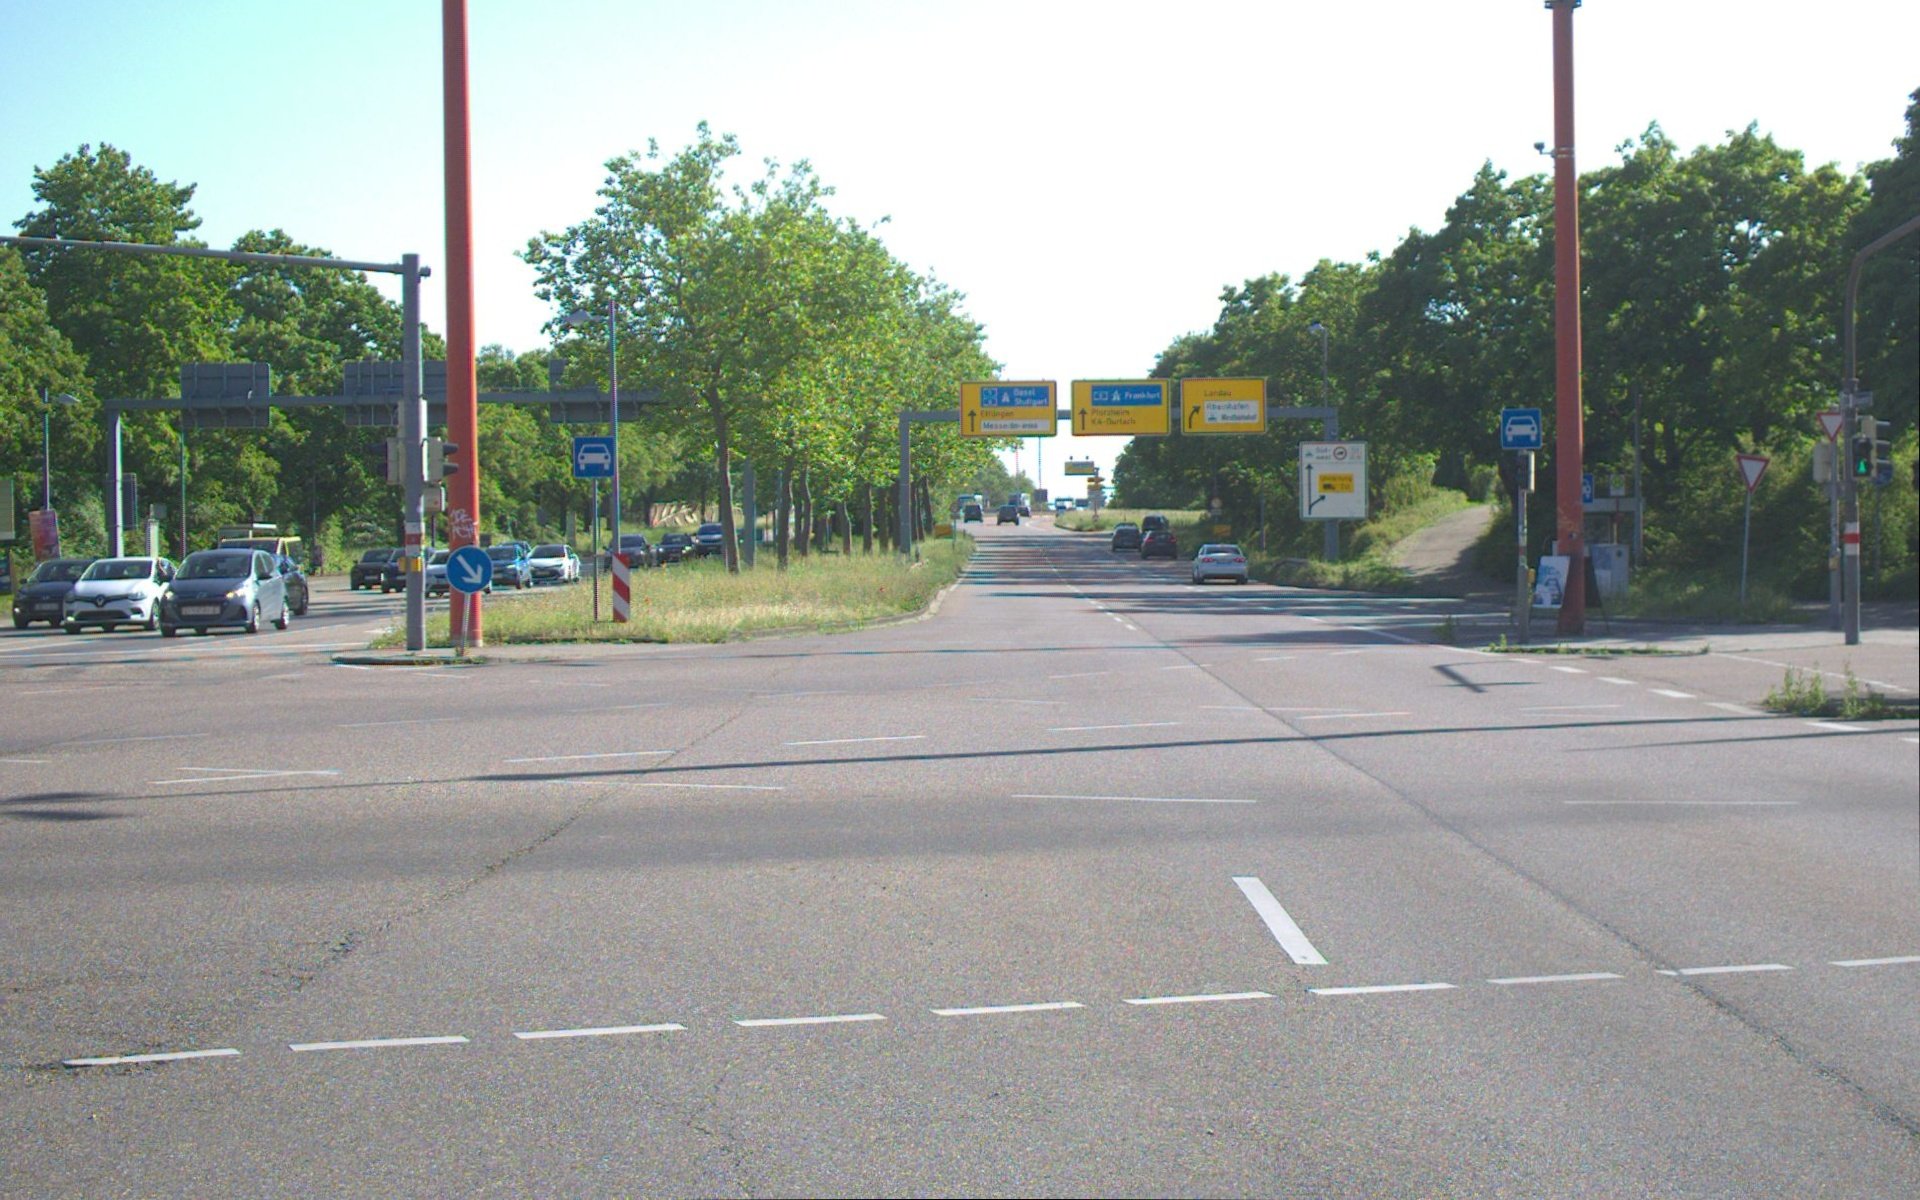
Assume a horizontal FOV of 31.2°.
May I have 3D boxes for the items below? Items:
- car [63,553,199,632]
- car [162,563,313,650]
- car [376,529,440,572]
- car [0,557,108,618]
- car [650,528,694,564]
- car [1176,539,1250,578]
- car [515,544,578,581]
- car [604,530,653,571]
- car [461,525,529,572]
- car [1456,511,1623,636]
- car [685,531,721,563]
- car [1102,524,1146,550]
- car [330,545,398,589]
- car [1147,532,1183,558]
[{"bbox_3d":[-16.048,-0.173,66.724,1.605,1.454,3.950,0,1,1],"label":"car"},{"bbox_3d":[-12.764,0.094,60.929,1.701,1.416,4.000,3,1,1],"label":"car"},{"bbox_3d":[-19.276,-1.724,120.172,1.628,1.445,3.434,1,1,1],"label":"car"},{"bbox_3d":[-19.589,-0.282,74.349,1.453,1.269,3.613,1,1,-1],"label":"car"},{"bbox_3d":[-14.080,-2.646,168.198,1.657,1.741,4.000,1,1,2],"label":"car"},{"bbox_3d":[8.917,-1.479,121.478,2.054,1.366,4.392,0,1,-3],"label":"car"},{"bbox_3d":[-15.388,-1.405,128.025,2.003,1.303,4.001,0,1,-2],"label":"car"},{"bbox_3d":[-14.536,-2.177,150.879,1.625,1.733,4.000,0,1,1],"label":"car"},{"bbox_3d":[-15.745,-1.753,116.494,1.704,1.553,3.803,1,1,2],"label":"car"},{"bbox_3d":[9.128,-0.440,53.911,1.995,1.881,3.997,0,1,18],"label":"car"},{"bbox_3d":[-14.142,-2.915,189.312,1.608,1.724,3.789,1,1,1],"label":"car"},{"bbox_3d":[9.657,-3.704,202.280,1.993,1.491,4.001,-1,1,-6],"label":"car"},{"bbox_3d":[-23.038,-1.276,133.022,1.993,1.633,4.000,1,1,-1],"label":"car"},{"bbox_3d":[10.648,-2.866,178.487,1.738,1.337,3.081,0,1,1],"label":"car"}]
